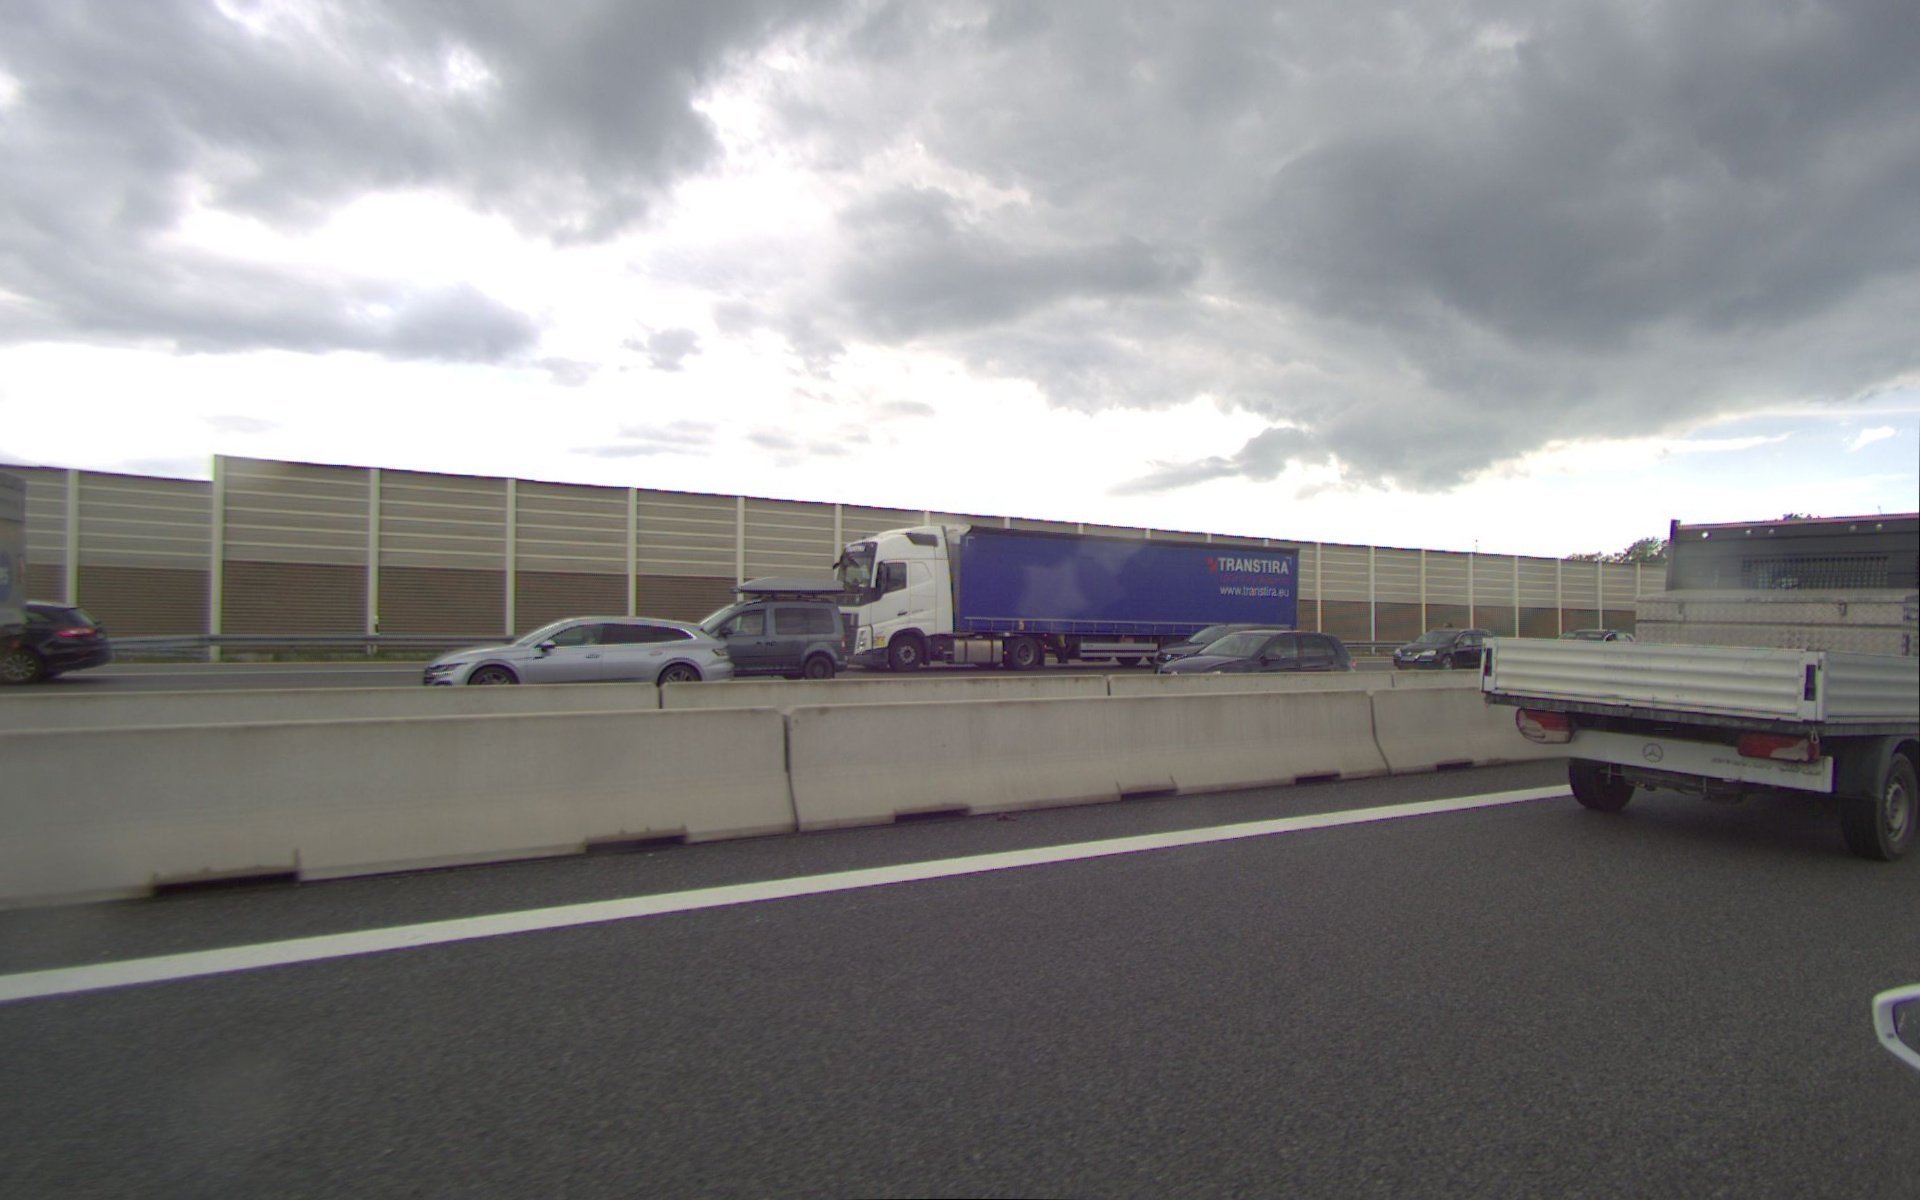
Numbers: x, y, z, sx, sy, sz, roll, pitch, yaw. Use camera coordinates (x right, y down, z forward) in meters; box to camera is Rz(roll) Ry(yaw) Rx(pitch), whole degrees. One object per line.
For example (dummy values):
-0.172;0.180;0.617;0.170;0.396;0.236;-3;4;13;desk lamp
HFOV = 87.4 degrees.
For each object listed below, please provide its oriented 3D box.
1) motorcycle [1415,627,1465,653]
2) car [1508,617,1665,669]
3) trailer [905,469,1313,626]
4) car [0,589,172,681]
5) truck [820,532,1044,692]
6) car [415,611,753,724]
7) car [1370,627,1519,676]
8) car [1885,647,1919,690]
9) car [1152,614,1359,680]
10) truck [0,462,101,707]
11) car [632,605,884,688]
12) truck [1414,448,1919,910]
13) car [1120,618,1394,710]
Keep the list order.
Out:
19.353;1.613;40.471;2.402;1.021;0.515;1;0;-30;motorcycle
19.764;1.352;31.662;4.936;1.511;2.052;2;-1;-29;car
5.238;-1.315;31.904;14.286;4.085;2.747;2;-1;-31;trailer
-17.873;0.619;18.542;4.940;1.621;2.050;2;-1;-31;car
-0.761;0.364;28.307;5.659;4.088;2.731;1;-1;-31;truck
-6.145;1.050;16.592;4.940;1.621;2.050;2;-1;-31;car
16.343;1.734;33.847;4.936;1.511;2.052;2;-1;-29;car
36.978;2.575;37.555;4.936;1.511;2.052;2;-1;-29;car
7.381;1.160;24.984;4.936;1.511;2.052;2;-1;-29;car
-18.434;-0.335;13.634;9.876;3.574;2.684;1;0;-30;truck
-4.312;0.990;21.714;4.940;1.621;2.050;2;-1;-31;car
6.917;0.491;8.235;7.068;2.472;2.294;1;0;-32;truck
5.578;1.154;18.719;4.938;1.511;2.051;2;-1;-30;car
